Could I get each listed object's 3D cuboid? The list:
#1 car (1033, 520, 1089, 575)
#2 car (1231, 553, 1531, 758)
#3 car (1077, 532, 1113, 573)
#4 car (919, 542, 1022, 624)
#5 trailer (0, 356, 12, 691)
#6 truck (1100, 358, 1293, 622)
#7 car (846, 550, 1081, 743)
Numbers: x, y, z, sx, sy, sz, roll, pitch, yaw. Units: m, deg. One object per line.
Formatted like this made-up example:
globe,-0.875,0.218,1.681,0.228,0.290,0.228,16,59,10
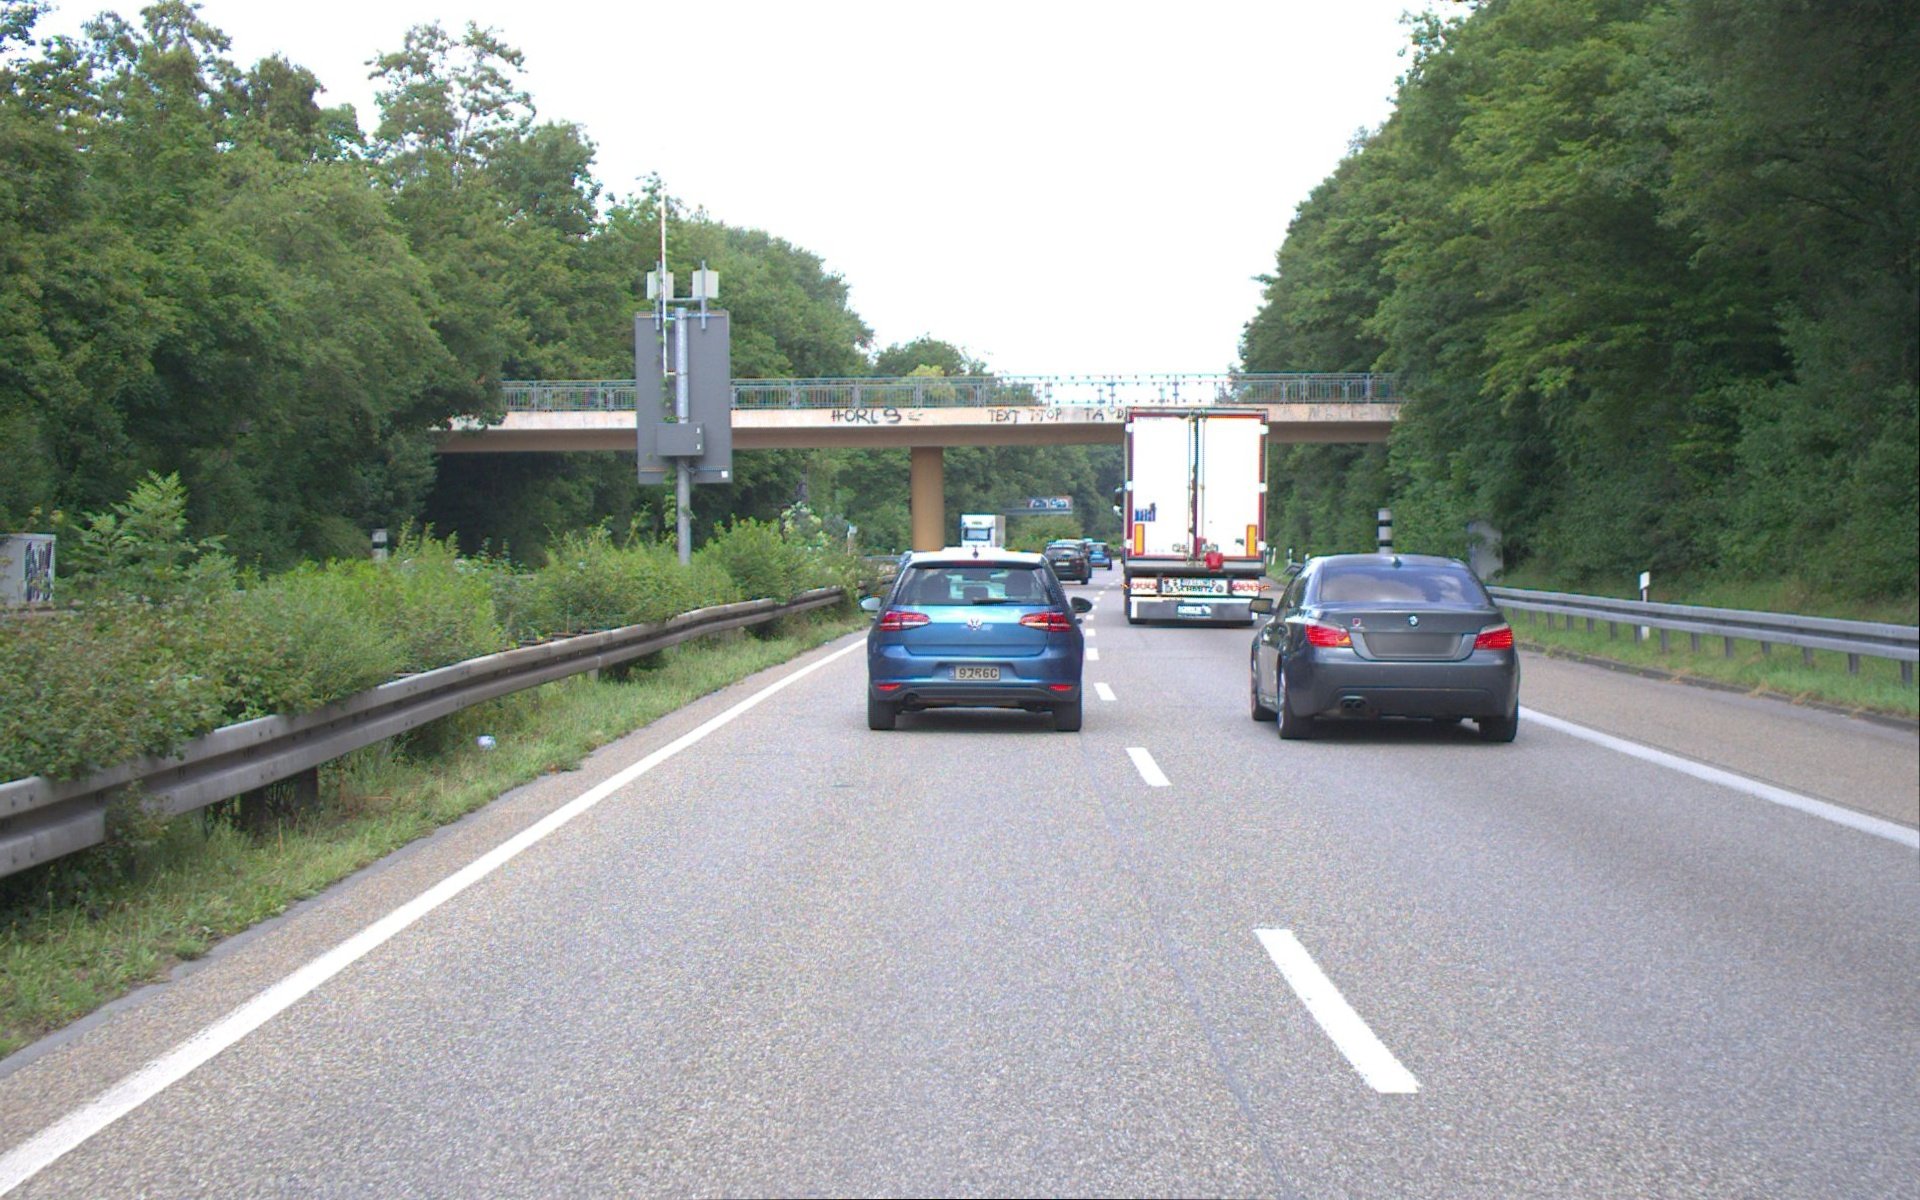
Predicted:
car,3.778,-1.978,128.425,1.954,2.007,4.000,-1,1,3
car,3.313,0.380,27.937,1.774,1.470,4.881,1,1,-1
car,7.756,-2.760,198.442,1.993,2.319,4.442,-1,1,2
car,0.232,-0.345,65.649,1.665,1.495,4.151,0,1,4
trailer,-12.359,-0.755,34.346,2.938,3.820,10.311,-1,1,-1
truck,4.479,-2.097,67.346,3.242,4.700,11.007,-1,1,2
car,0.094,0.336,28.815,1.705,1.465,4.000,1,1,4
